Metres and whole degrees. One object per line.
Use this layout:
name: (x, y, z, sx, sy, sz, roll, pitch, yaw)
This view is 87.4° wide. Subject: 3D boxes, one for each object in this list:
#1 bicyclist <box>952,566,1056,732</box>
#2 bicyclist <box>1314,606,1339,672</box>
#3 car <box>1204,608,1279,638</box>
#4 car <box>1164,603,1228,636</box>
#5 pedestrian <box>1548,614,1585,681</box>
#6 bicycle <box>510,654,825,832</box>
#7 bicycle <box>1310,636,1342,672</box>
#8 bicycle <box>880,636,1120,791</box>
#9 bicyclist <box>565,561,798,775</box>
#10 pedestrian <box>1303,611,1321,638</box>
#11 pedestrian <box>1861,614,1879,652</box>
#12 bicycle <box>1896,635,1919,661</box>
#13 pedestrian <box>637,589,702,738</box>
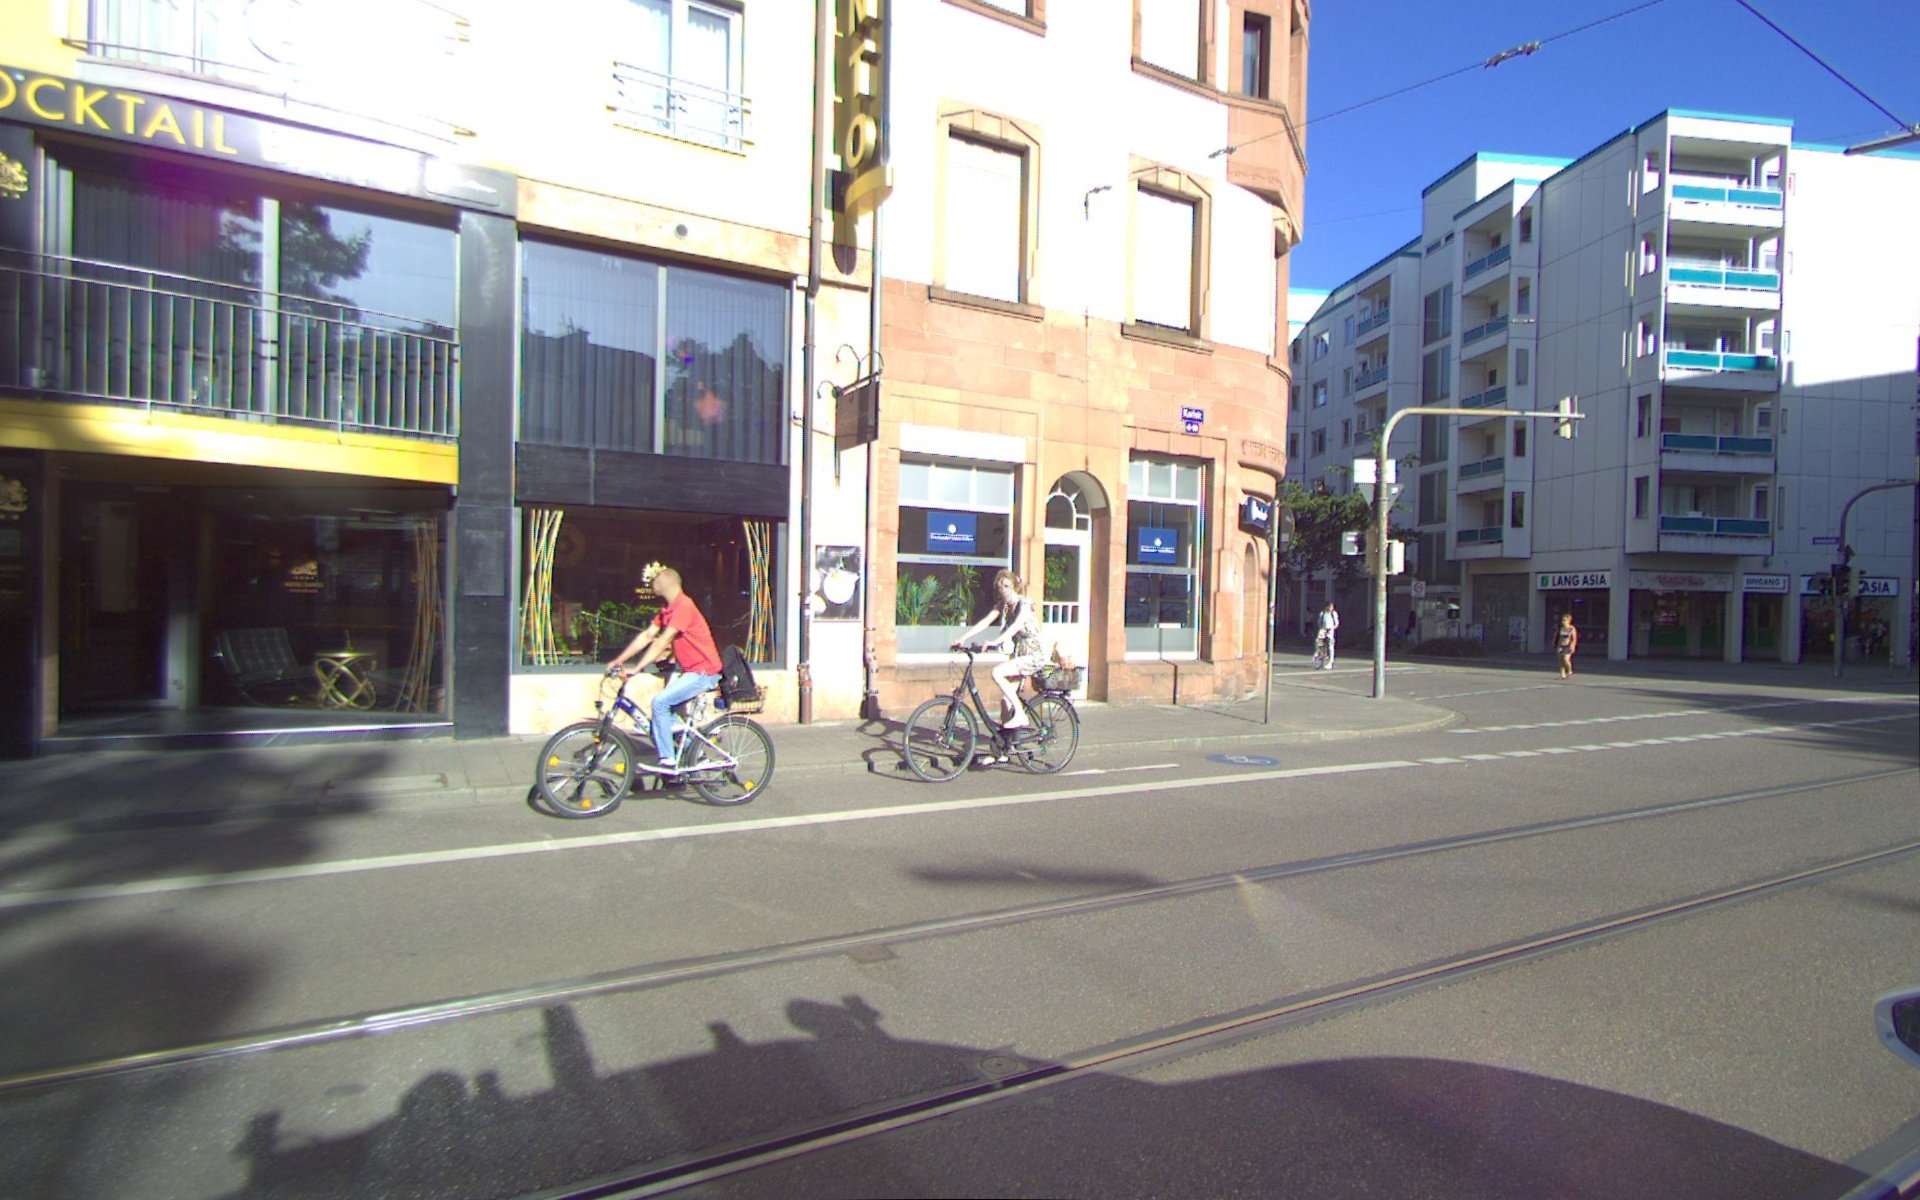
bicyclist: (0.383, 0.415, 8.842, 0.671, 1.394, 0.587, 1, 1, -31)
bicyclist: (10.262, 1.073, 28.116, 0.603, 1.787, 0.974, 2, 0, 21)
car: (15.439, 1.241, 55.062, 3.952, 1.506, 1.593, 0, 3, -30)
car: (14.246, 1.183, 60.512, 3.965, 1.900, 1.588, 2, 0, -38)
pedestrian: (14.646, 1.139, 24.258, 0.510, 1.573, 0.540, 1, 1, -31)
bicycle: (-2.069, 0.951, 7.216, 2.038, 1.079, 0.727, 2, 0, -32)
bicycle: (10.287, 1.499, 28.216, 0.776, 0.921, 1.814, 2, 0, 21)
bicycle: (0.381, 0.937, 8.834, 2.038, 1.199, 0.727, 1, 0, -32)
bicyclist: (-2.003, 0.459, 7.255, 1.452, 1.399, 0.731, 2, 0, -32)
pedestrian: (19.967, 1.378, 56.949, 0.703, 1.514, 0.744, 2, 0, 1)
pedestrian: (42.943, 1.557, 47.390, 0.541, 1.741, 0.453, 1, 0, -31)
bicycle: (39.554, 1.988, 41.105, 0.652, 1.048, 1.921, 1, 0, -3)
pedestrian: (-2.891, 0.616, 9.977, 0.510, 1.429, 0.401, 1, 0, -31)
